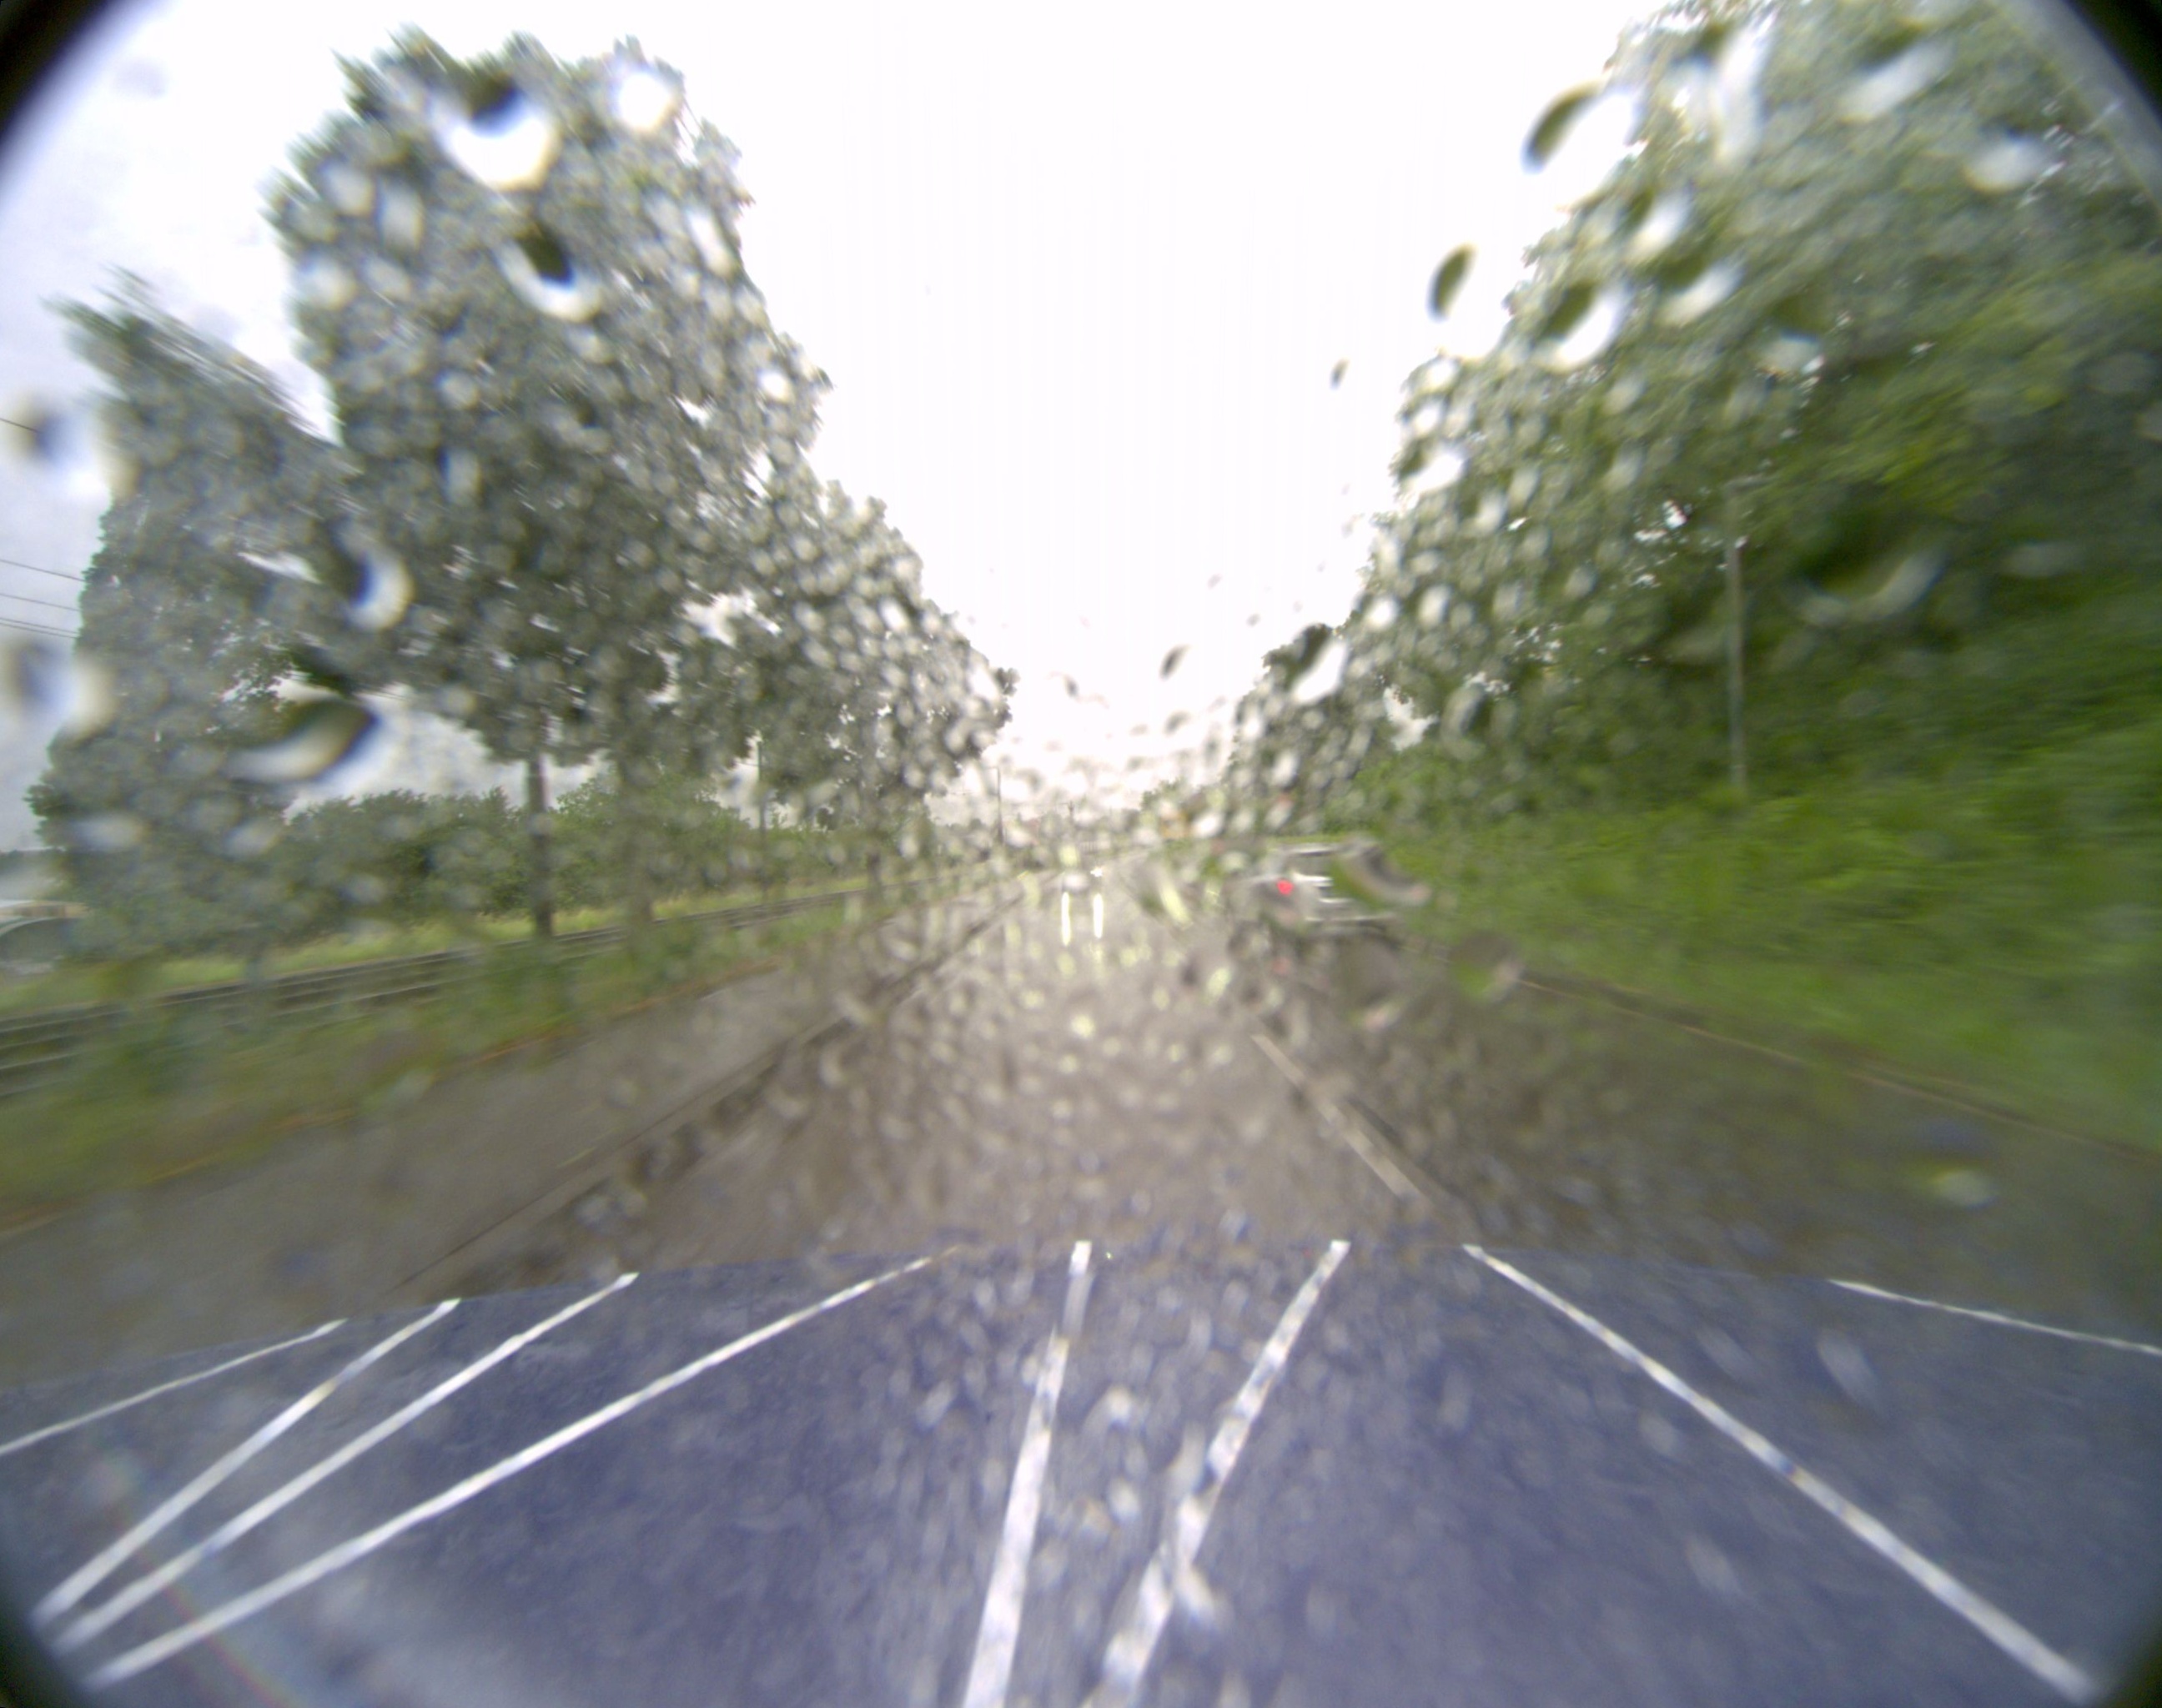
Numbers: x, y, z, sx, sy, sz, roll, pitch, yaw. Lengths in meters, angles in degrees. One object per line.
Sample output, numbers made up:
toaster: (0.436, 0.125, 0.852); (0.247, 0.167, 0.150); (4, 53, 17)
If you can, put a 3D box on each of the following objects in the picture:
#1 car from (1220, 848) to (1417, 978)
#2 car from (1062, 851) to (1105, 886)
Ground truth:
car: (3.356, 0.744, 11.498); (1.765, 1.611, 3.790); (-1, 0, 0)
car: (0.152, 0.617, 34.929); (1.764, 1.477, 3.791); (-1, 0, 3)
